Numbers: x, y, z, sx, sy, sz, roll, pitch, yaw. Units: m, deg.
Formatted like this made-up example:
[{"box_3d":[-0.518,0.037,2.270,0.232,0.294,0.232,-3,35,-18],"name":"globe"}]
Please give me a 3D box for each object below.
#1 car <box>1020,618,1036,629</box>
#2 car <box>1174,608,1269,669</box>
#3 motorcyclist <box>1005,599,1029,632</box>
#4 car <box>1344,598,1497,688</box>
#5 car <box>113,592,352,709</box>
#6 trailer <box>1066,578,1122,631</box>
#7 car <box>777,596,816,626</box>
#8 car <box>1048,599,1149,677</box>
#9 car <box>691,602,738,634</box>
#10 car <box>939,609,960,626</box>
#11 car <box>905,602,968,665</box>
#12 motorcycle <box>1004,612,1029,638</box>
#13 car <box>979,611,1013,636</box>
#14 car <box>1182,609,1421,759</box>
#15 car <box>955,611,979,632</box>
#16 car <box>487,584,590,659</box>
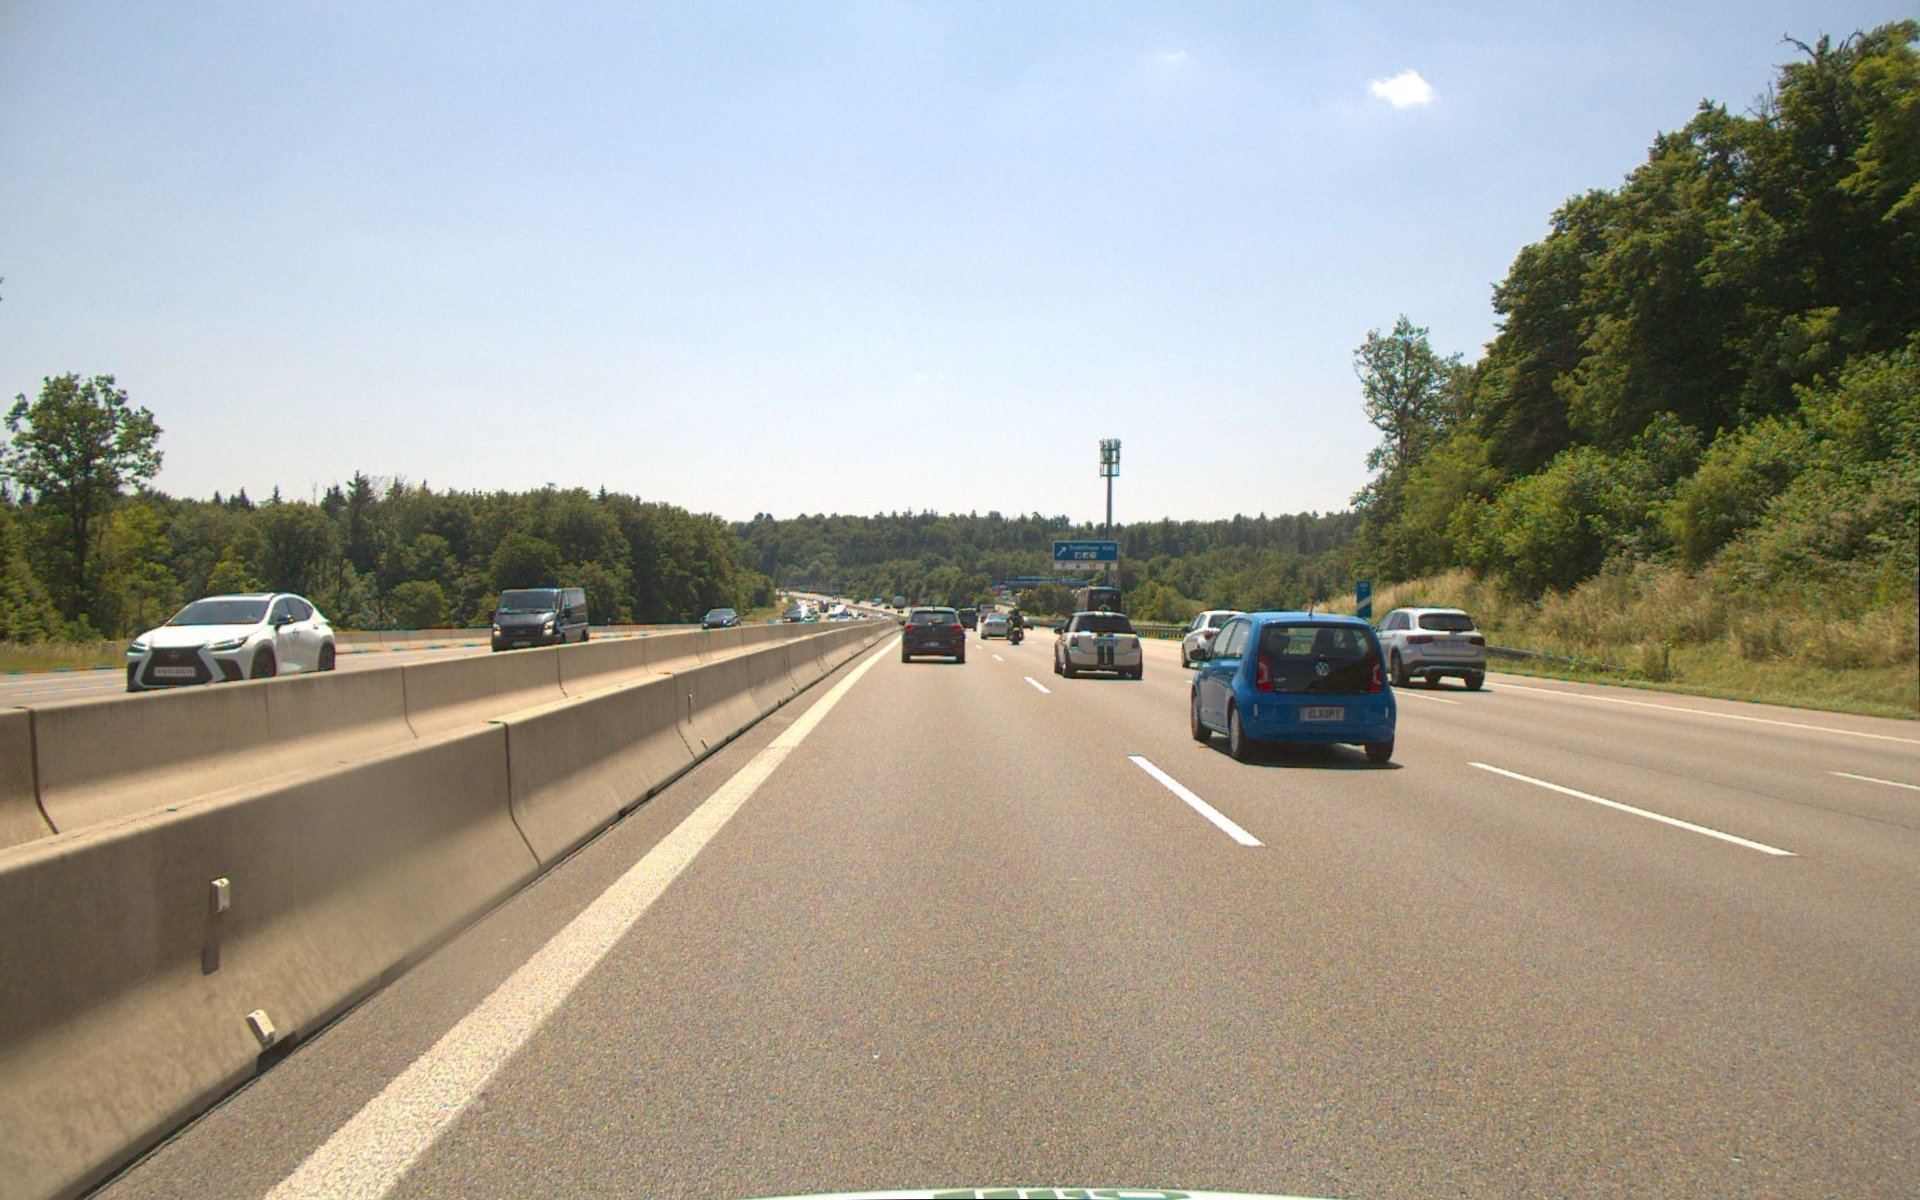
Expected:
[{"box_3d":[7.976,2.767,195.354,1.576,1.233,3.458,0,-1,-3],"name":"car"},{"box_3d":[6.701,0.952,42.798,1.632,1.458,4.374,0,0,-2],"name":"car"},{"box_3d":[2.574,0.675,74.464,0.943,1.463,1.234,-1,0,-3],"name":"motorcyclist"},{"box_3d":[9.996,0.869,36.366,1.764,1.761,5.238,1,0,-1],"name":"car"},{"box_3d":[-11.375,0.729,26.269,1.857,1.691,4.727,0,0,-2],"name":"car"},{"box_3d":[10.040,0.439,125.563,2.799,3.752,13.537,-1,-1,-1],"name":"trailer"},{"box_3d":[-9.961,0.665,100.891,1.953,1.702,5.279,-2,0,-2],"name":"car"},{"box_3d":[2.976,0.842,36.260,1.804,1.579,3.999,1,-2,-1],"name":"car"},{"box_3d":[-13.765,1.000,93.033,1.953,1.704,5.279,-2,0,-2],"name":"car"},{"box_3d":[-1.179,1.957,185.967,1.955,1.713,4.418,1,0,-5],"name":"car"},{"box_3d":[-0.620,0.861,44.129,1.591,1.513,3.684,1,1,-1],"name":"car"},{"box_3d":[2.549,1.106,74.516,0.958,1.149,2.270,0,0,-2],"name":"motorcycle"},{"box_3d":[1.971,1.290,90.914,1.746,1.287,3.459,0,0,-1],"name":"car"},{"box_3d":[3.551,0.823,17.882,1.702,1.436,3.999,0,0,-1],"name":"car"},{"box_3d":[0.666,2.020,153.764,2.055,1.884,4.079,0,0,-2],"name":"car"},{"box_3d":[-12.043,0.583,47.584,1.954,2.049,4.809,0,0,-3],"name":"car"}]
